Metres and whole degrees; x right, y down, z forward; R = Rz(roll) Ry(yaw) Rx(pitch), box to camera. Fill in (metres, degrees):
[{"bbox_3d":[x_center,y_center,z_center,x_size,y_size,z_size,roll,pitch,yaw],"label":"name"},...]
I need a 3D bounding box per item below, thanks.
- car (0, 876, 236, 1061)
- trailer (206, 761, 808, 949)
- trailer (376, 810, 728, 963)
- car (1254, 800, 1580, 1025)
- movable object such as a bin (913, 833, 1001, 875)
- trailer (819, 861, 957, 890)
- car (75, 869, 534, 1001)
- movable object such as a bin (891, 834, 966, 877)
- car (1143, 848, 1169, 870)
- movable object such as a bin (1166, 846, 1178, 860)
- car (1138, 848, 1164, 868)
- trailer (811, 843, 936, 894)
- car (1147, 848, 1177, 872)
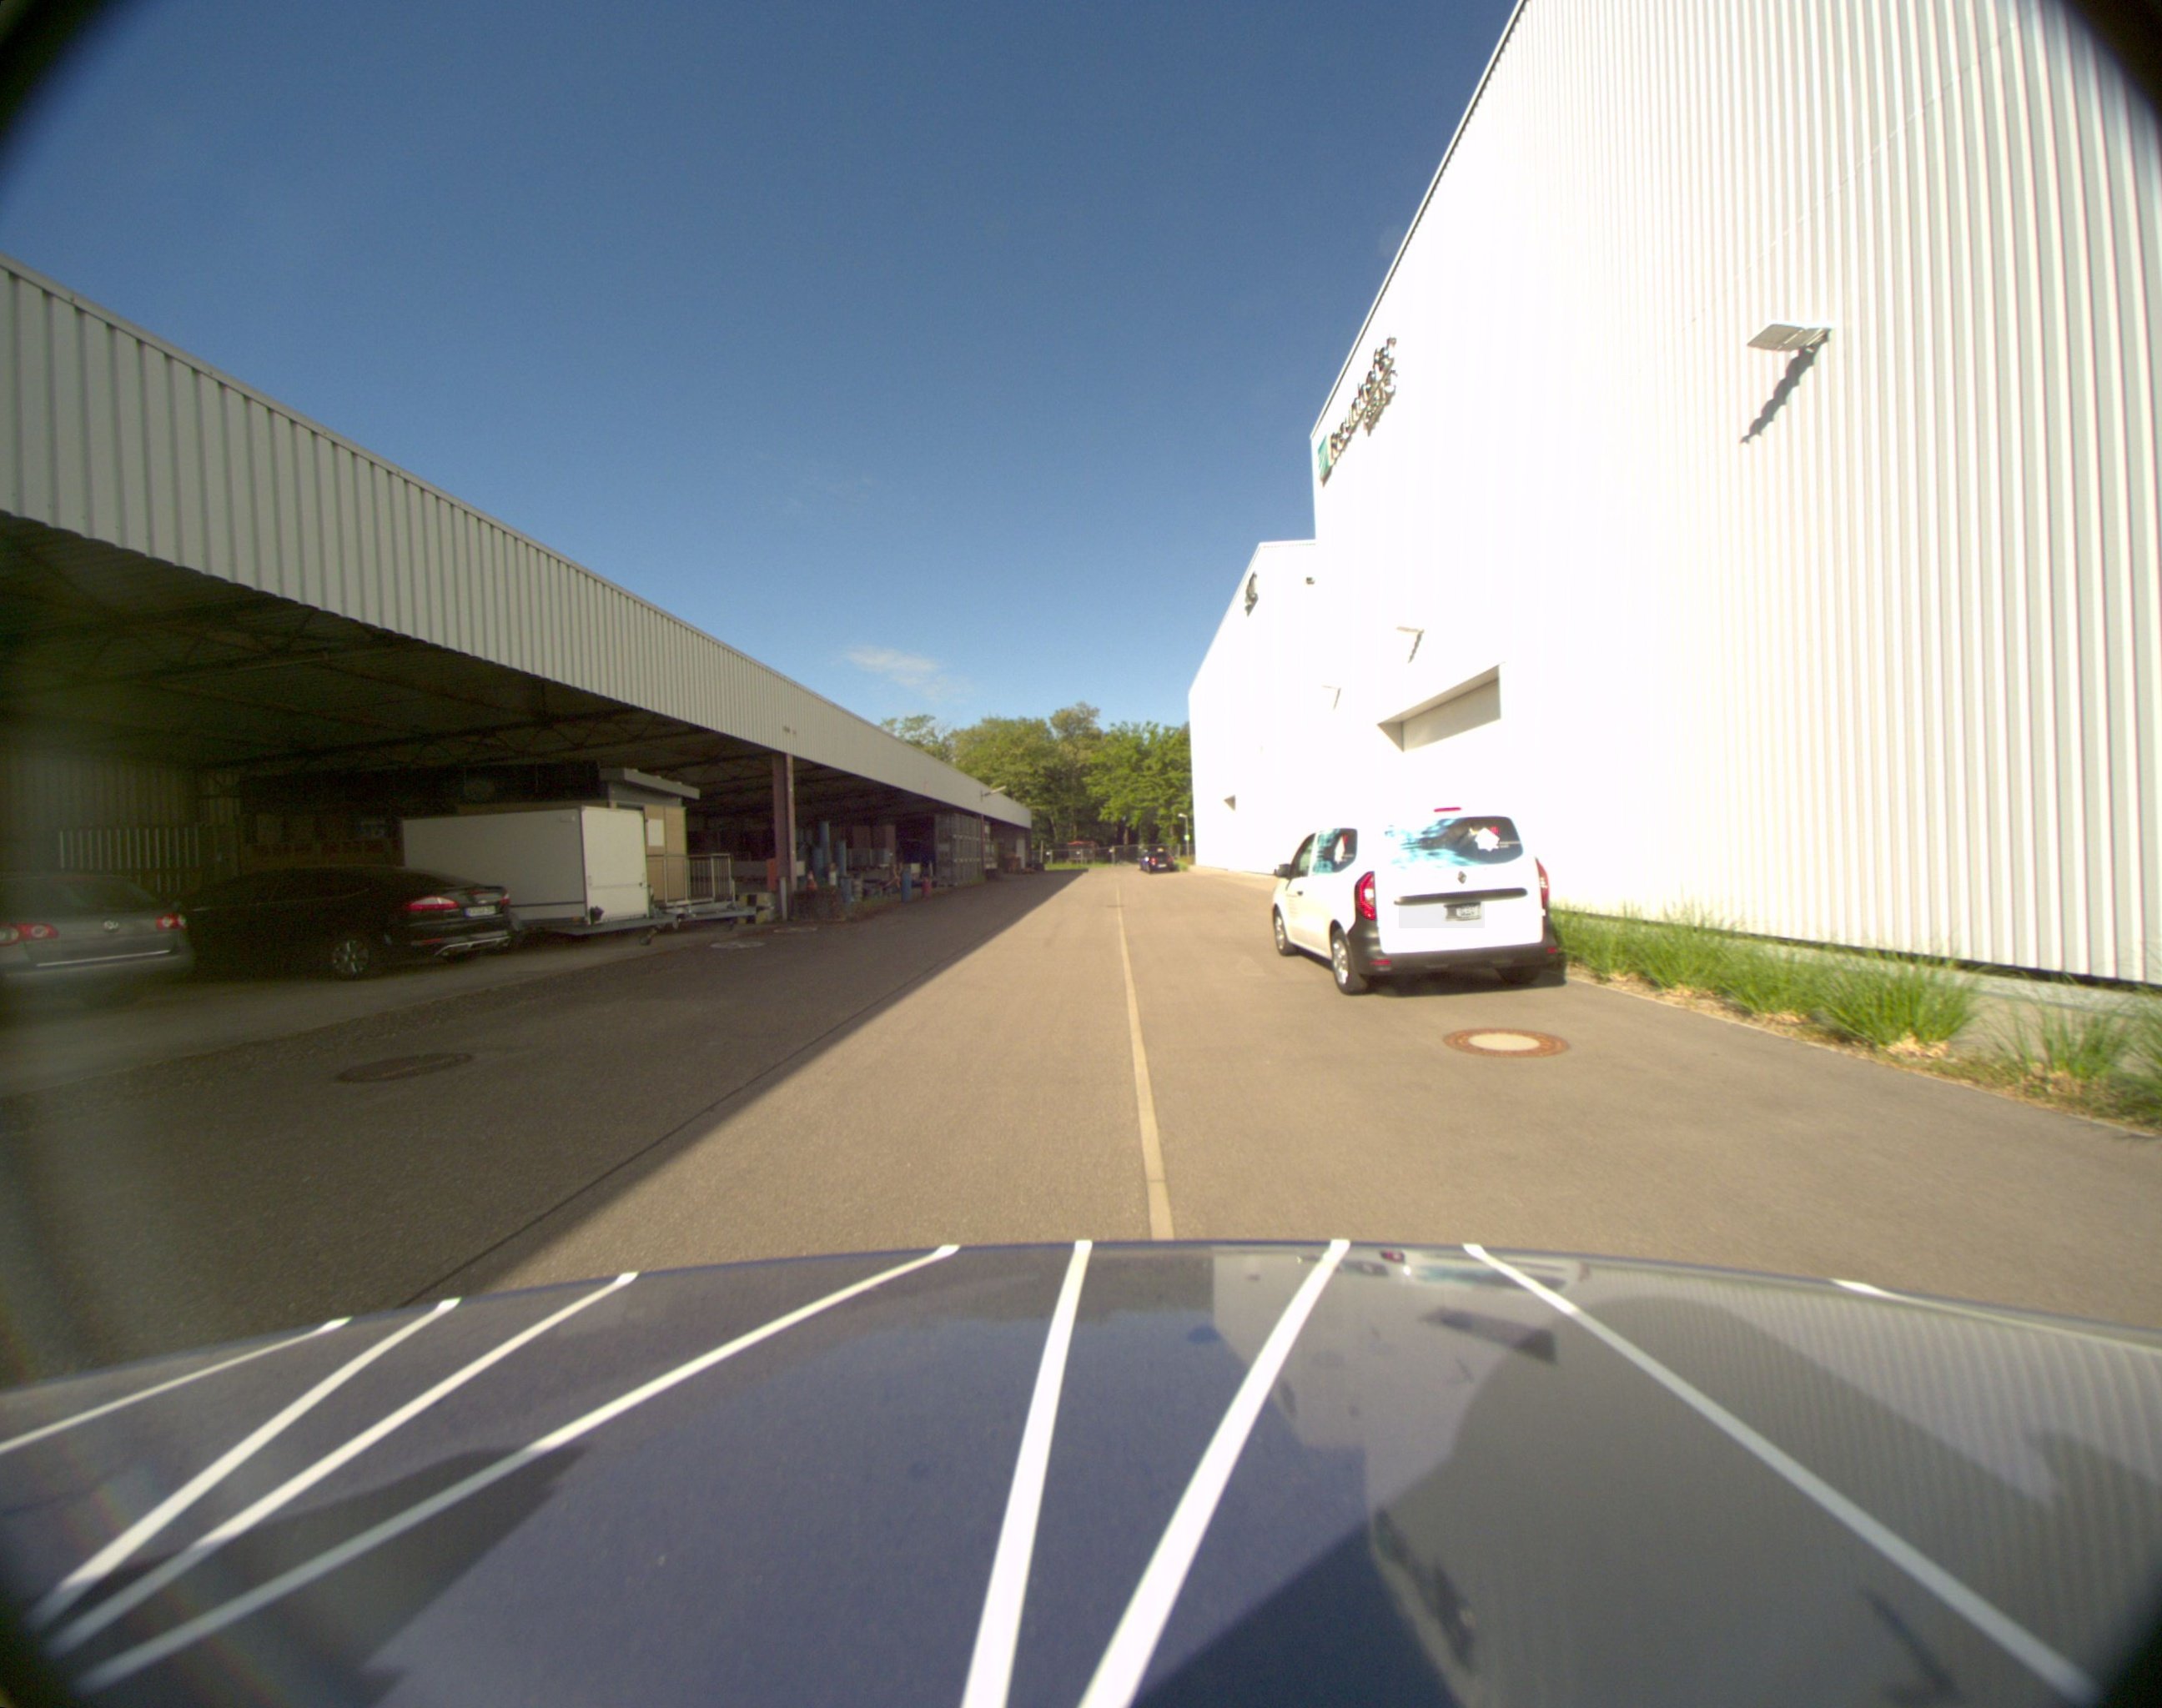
[{"bbox_3d":[-11.234,1.066,7.344,3.974,1.505,1.840,-2,1,0],"label":"car"},{"bbox_3d":[-11.234,0.046,15.474,10.291,3.324,2.801,-1,1,3],"label":"trailer"},{"bbox_3d":[-8.754,0.512,12.873,4.526,2.329,2.047,-1,1,3],"label":"trailer"},{"bbox_3d":[3.370,0.471,8.742,1.788,1.805,4.601,-4,1,2],"label":"car"},{"bbox_3d":[-9.099,-0.009,56.220,5.847,2.908,2.821,-2,1,3],"label":"movable object such as a bin"},{"bbox_3d":[-8.687,0.959,34.571,5.742,1.178,1.974,-1,1,1],"label":"trailer"},{"bbox_3d":[-10.331,1.029,10.392,4.259,1.463,1.870,-2,0,-1],"label":"car"},{"bbox_3d":[-10.587,0.100,53.007,4.537,2.814,2.498,-2,0,3],"label":"movable object such as a bin"},{"bbox_3d":[5.522,0.347,56.350,1.551,1.480,3.522,-4,0,1],"label":"car"},{"bbox_3d":[9.259,-0.129,77.470,1.140,1.426,1.289,-1,1,3],"label":"movable object such as a bin"},{"bbox_3d":[5.702,0.314,61.859,1.715,1.440,3.798,-4,0,1],"label":"car"},{"bbox_3d":[-8.429,0.558,31.210,4.433,1.979,2.163,-1,1,4],"label":"trailer"},{"bbox_3d":[5.456,0.375,51.603,1.760,1.437,4.315,-4,0,3],"label":"car"}]
